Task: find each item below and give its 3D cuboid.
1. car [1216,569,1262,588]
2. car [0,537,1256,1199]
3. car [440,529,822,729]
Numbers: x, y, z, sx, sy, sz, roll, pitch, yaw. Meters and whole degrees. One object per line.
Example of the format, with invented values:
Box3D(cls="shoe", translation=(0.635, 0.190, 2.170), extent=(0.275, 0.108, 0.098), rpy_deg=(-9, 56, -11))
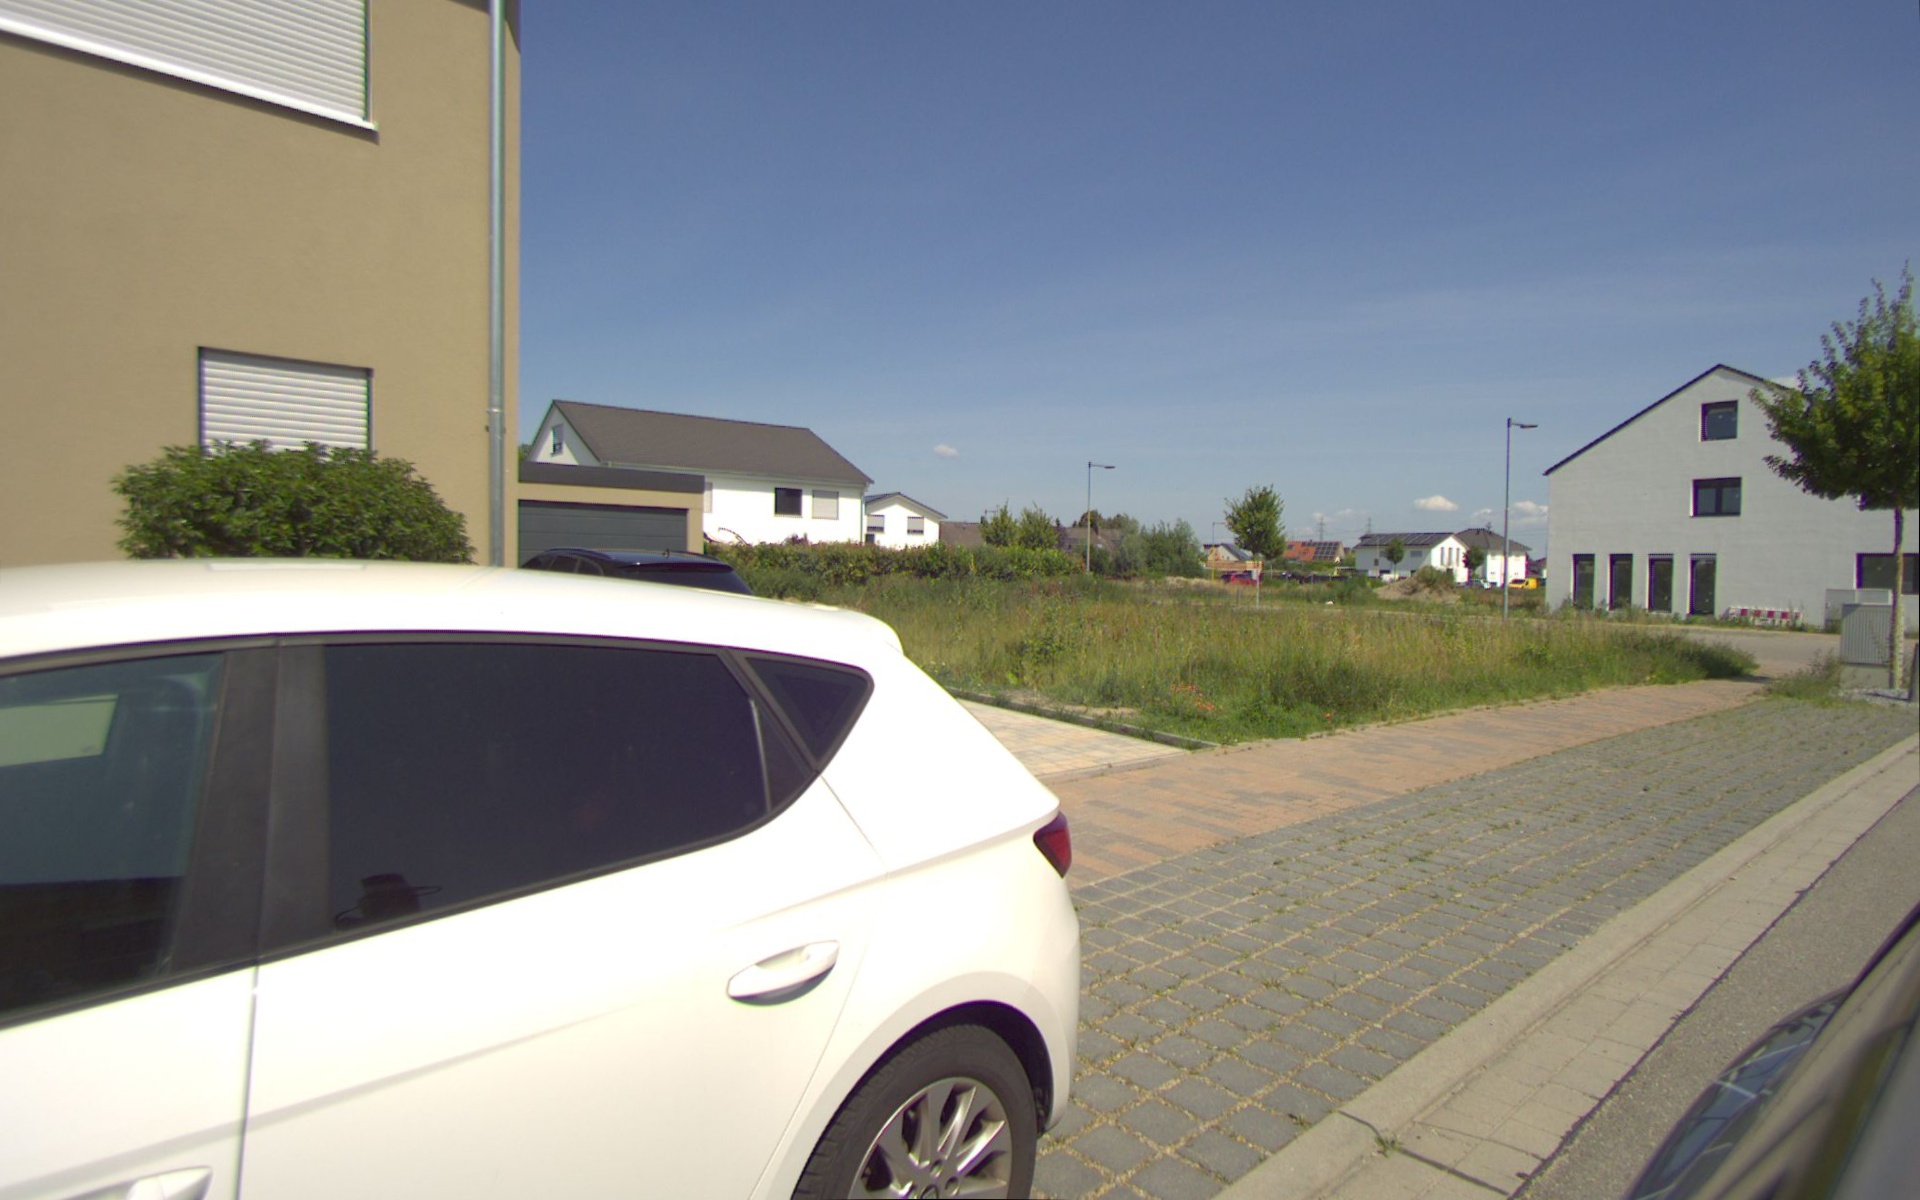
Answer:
Box3D(cls="car", translation=(24.847, -1.909, 90.173), extent=(3.924, 1.636, 1.810), rpy_deg=(0, 2, -35))
Box3D(cls="car", translation=(-1.582, 0.650, 1.511), extent=(4.487, 1.473, 1.817), rpy_deg=(0, 3, -43))
Box3D(cls="car", translation=(-3.590, 0.096, 10.314), extent=(1.965, 1.443, 4.899), rpy_deg=(0, 4, -41))
